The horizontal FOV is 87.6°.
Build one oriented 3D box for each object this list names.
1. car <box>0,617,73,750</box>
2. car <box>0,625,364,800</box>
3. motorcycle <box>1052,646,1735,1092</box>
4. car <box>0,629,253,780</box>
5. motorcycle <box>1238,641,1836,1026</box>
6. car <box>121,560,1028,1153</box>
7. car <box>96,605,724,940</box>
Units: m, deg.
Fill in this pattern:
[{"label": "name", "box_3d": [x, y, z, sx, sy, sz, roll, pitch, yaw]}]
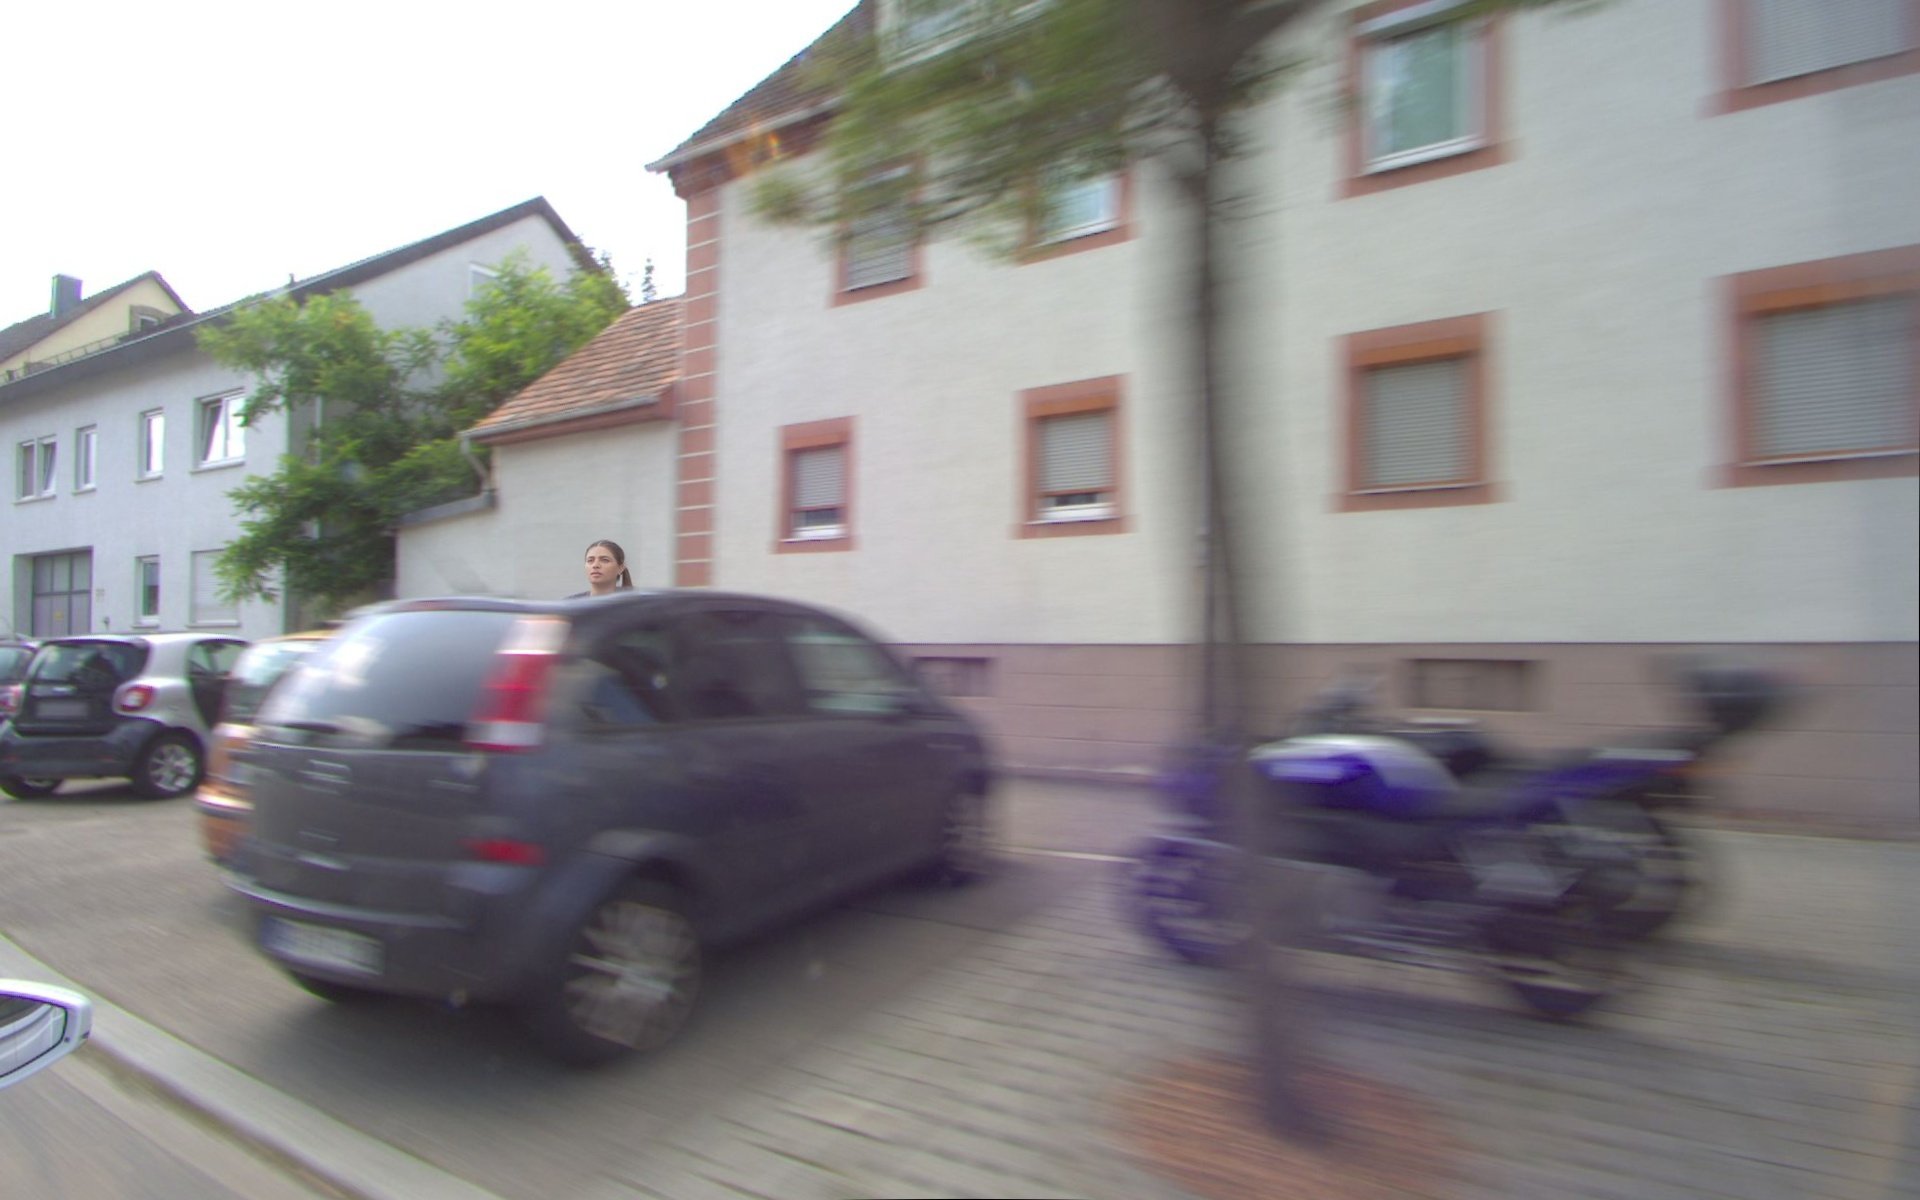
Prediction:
[{"label": "car", "box_3d": [-13.769, 1.067, 13.389, 4.209, 1.645, 1.660, -1, -2, 31]}, {"label": "car", "box_3d": [-7.984, 1.038, 10.278, 1.842, 1.524, 2.789, 0, -2, 8]}, {"label": "motorcycle", "box_3d": [1.467, 0.840, 3.744, 2.148, 1.315, 0.628, -1, -1, 26]}, {"label": "car", "box_3d": [-10.420, 1.117, 11.790, 1.791, 1.524, 3.238, 0, -2, 3]}, {"label": "motorcycle", "box_3d": [2.517, 0.861, 4.585, 2.199, 1.315, 0.955, -1, -1, 40]}, {"label": "car", "box_3d": [-1.295, 0.730, 4.838, 1.822, 1.598, 3.845, -1, -1, 28]}, {"label": "car", "box_3d": [-3.263, 0.911, 6.691, 1.696, 1.597, 3.383, 0, -3, 20]}]
